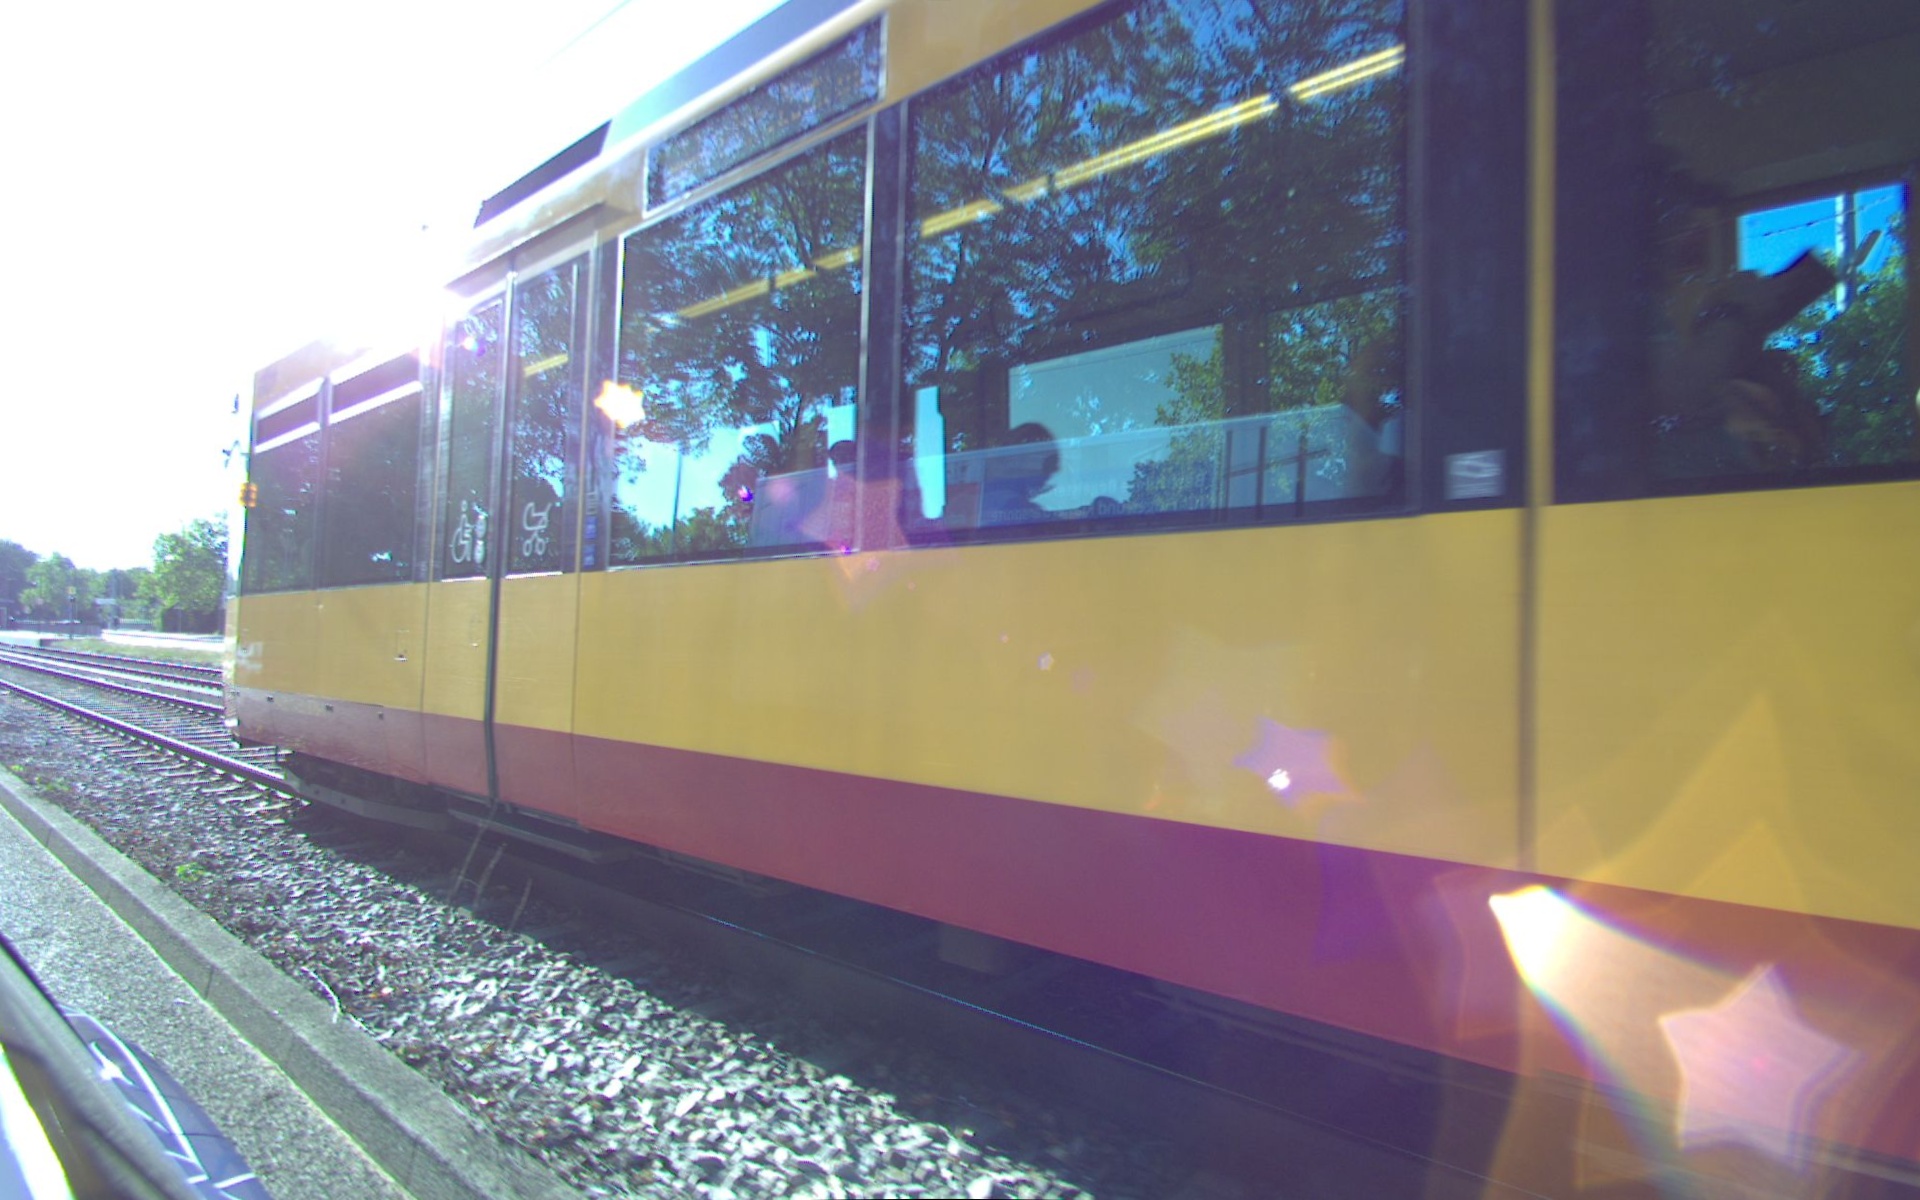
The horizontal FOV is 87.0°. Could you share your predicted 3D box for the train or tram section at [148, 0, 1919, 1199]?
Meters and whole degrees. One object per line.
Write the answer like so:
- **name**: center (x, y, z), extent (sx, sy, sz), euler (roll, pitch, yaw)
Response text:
- **train or tram section**: center (-0.684, -0.407, 5.006), extent (13.607, 4.122, 2.693), euler (-1, -3, 41)
